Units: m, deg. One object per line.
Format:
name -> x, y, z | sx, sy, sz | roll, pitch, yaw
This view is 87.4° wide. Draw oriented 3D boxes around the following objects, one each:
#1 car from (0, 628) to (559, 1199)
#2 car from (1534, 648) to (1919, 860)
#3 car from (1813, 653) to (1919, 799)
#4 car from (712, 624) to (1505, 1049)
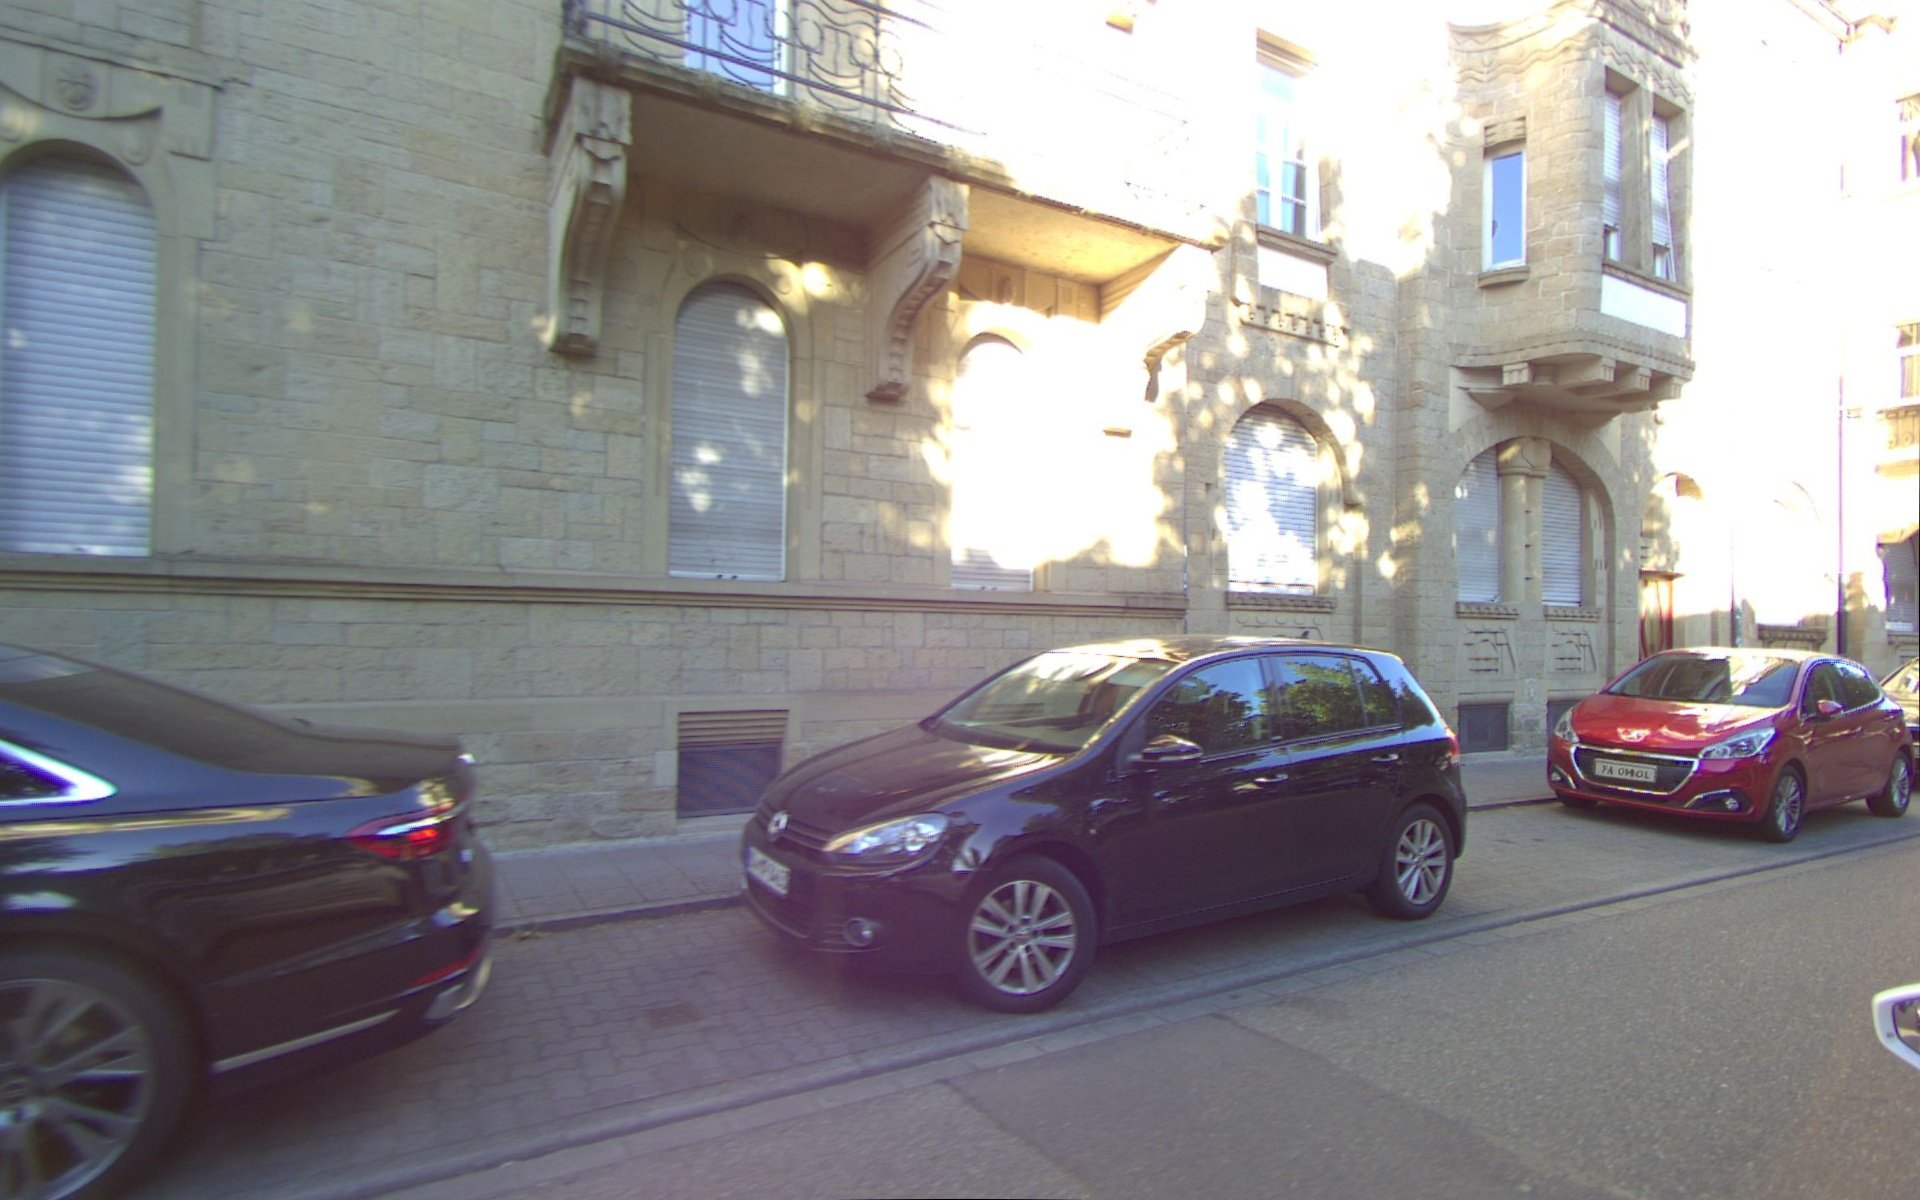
car -> -3.737, 0.818, 2.524 | 4.841, 1.446, 1.802 | 2, 0, -31
car -> 6.993, 1.199, 9.036 | 3.796, 1.472, 1.620 | 2, -1, -33
car -> 11.968, 1.394, 11.699 | 4.496, 1.449, 1.668 | 1, 0, -30
car -> 0.918, 0.919, 5.282 | 3.983, 1.472, 1.687 | 3, -2, -32
